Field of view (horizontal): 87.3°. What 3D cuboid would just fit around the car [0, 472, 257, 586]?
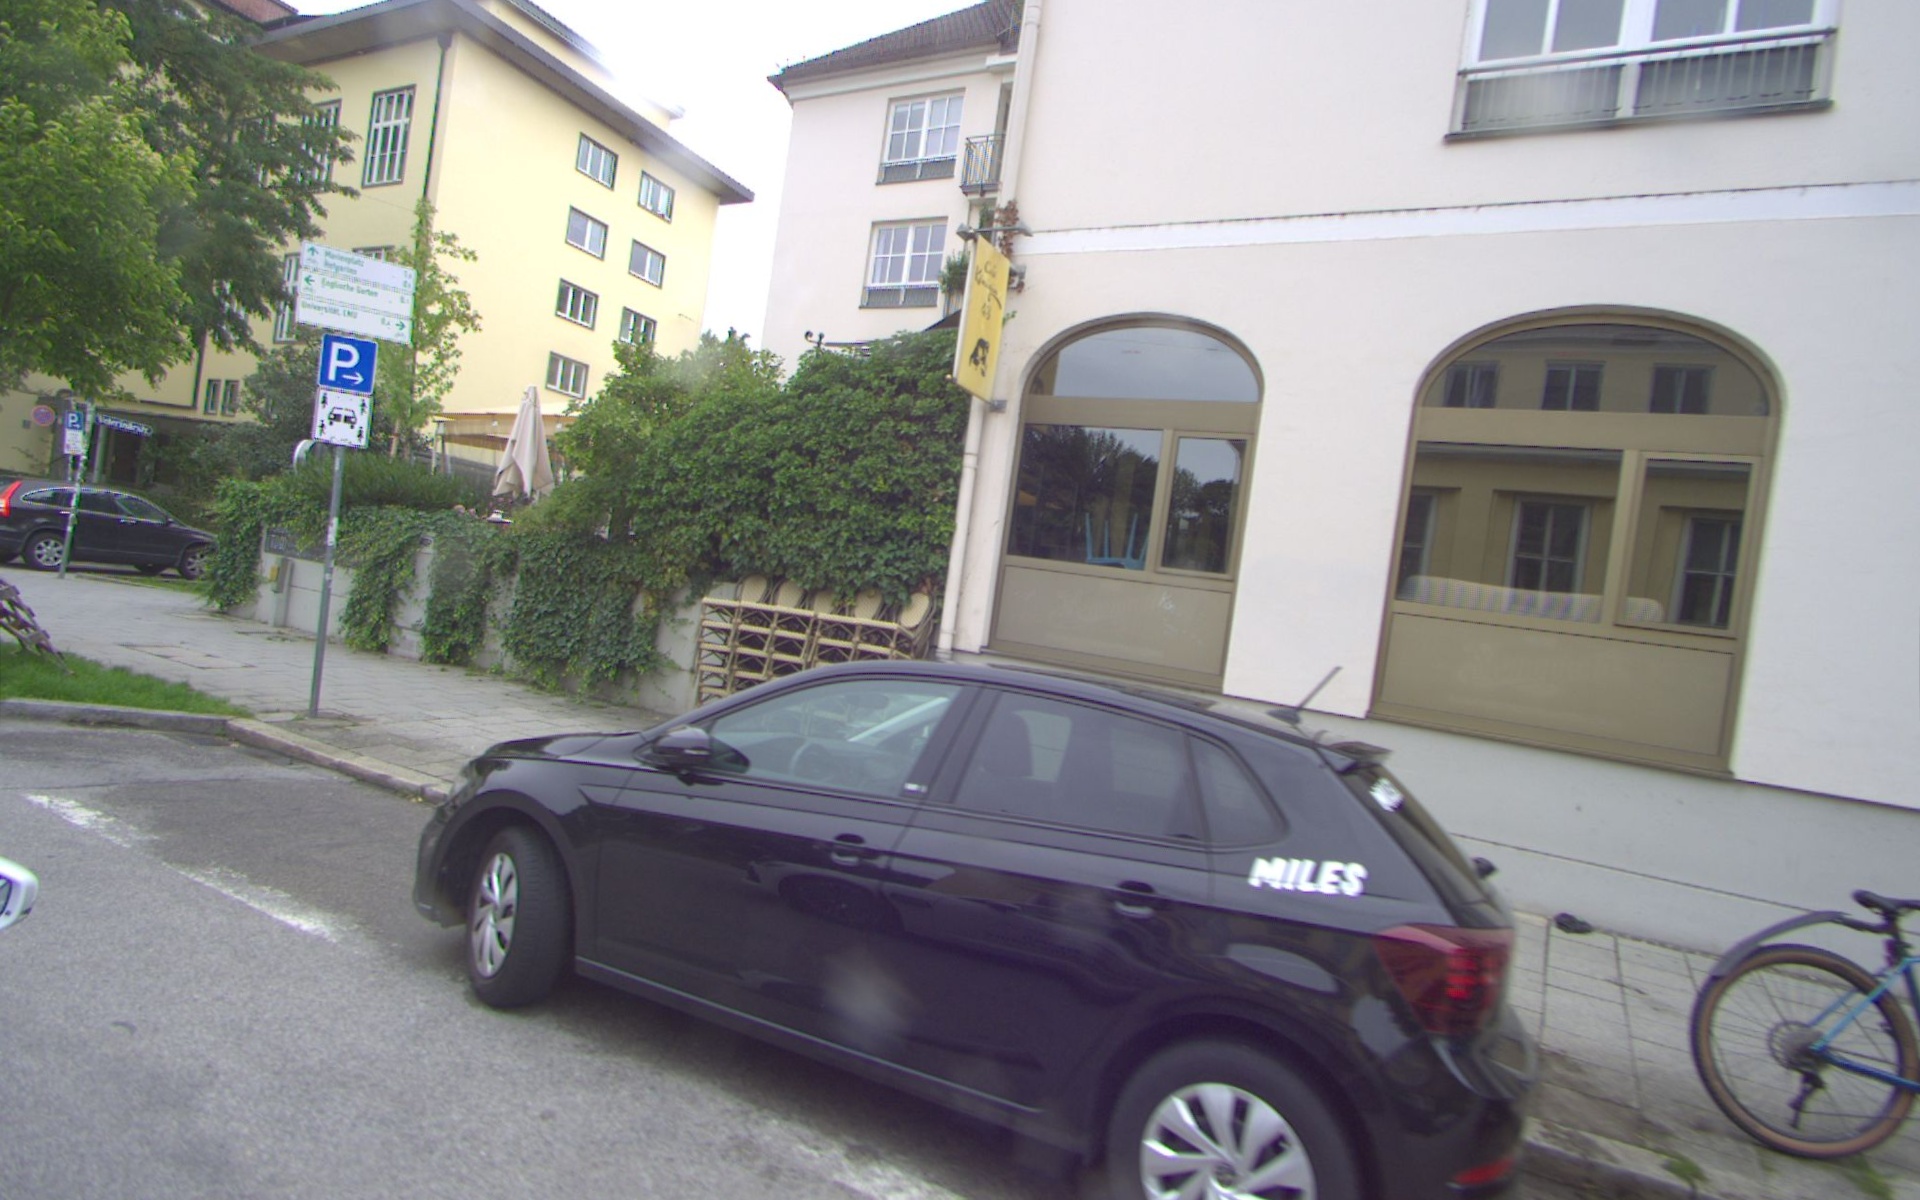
[{"bbox_3d":[-16.753,-1.379,19.701,1.967,1.715,4.373,8,1,27],"label":"car"}]

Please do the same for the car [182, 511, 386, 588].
[{"bbox_3d":[-17.197,-1.243,25.790,1.579,1.453,3.981,7,0,31],"label":"car"}]

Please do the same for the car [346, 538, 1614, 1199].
[{"bbox_3d":[-0.111,0.873,3.699,3.889,1.533,1.711,8,-4,27],"label":"car"}]

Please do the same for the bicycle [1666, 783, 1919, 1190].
[{"bbox_3d":[3.639,1.436,3.607,1.559,1.202,0.667,8,0,20],"label":"bicycle"}]
